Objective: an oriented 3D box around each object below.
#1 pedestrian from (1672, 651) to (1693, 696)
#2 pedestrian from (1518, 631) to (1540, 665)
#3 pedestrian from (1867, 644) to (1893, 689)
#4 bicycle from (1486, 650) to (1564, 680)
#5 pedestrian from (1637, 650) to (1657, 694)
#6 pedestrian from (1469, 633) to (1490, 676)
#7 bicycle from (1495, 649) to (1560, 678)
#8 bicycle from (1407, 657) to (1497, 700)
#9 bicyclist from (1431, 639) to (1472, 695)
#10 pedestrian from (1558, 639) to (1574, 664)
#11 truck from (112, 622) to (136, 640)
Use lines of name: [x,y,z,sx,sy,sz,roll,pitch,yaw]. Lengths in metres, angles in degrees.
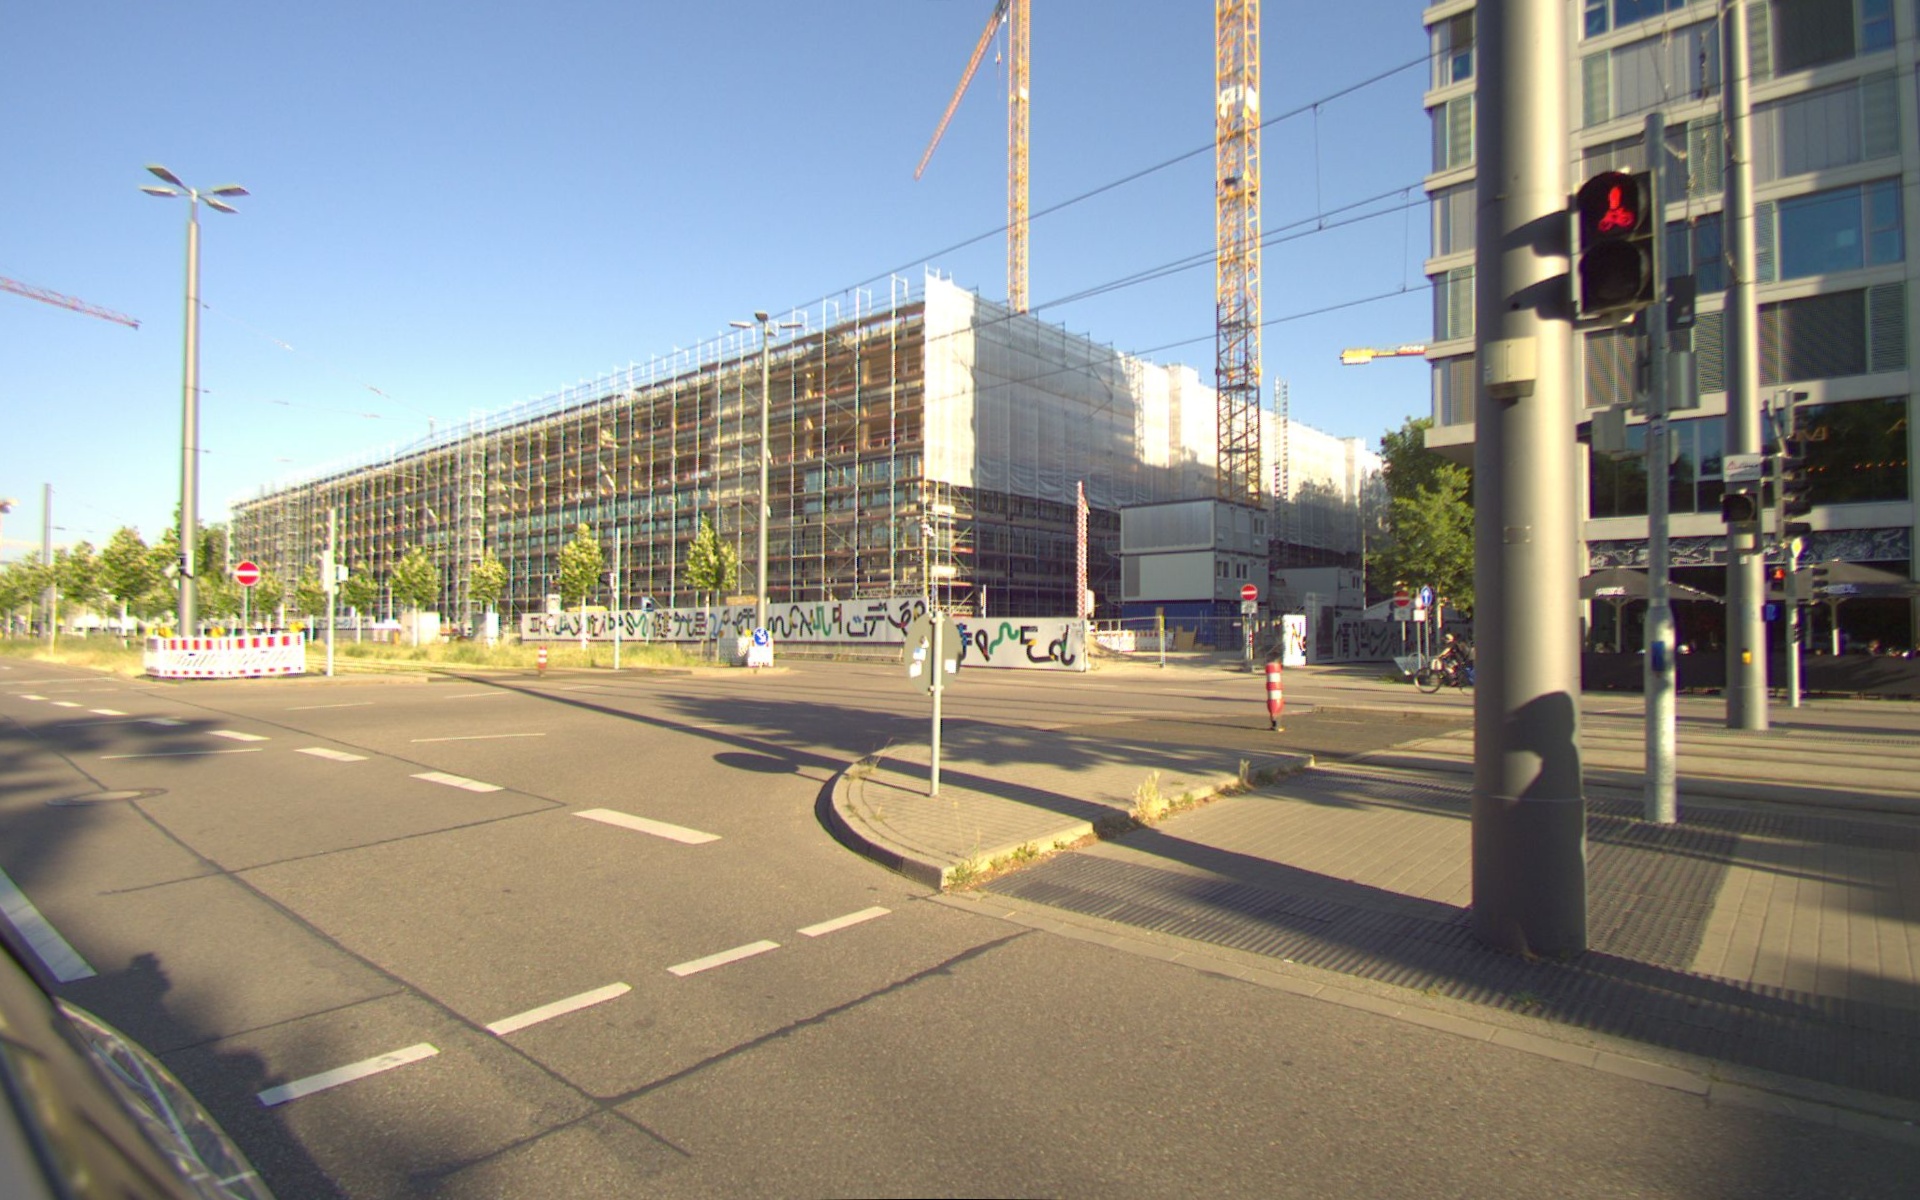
pedestrian: [19.826,2.012,27.759,0.432,1.203,0.360,-2,-3,38]
pedestrian: [26.402,2.227,46.947,0.574,1.547,0.705,2,-3,-43]
pedestrian: [25.826,1.862,28.408,0.497,1.231,0.427,-2,-3,41]
bicycle: [19.055,2.167,34.141,2.215,0.943,0.612,-2,-3,41]
pedestrian: [19.453,2.034,28.658,0.432,1.203,0.360,-2,-3,38]
pedestrian: [18.431,1.932,35.893,0.575,1.510,0.581,-1,-3,35]
bicycle: [19.573,2.175,34.933,1.899,0.943,0.530,-2,-3,41]
bicycle: [13.269,2.107,27.336,2.077,1.075,0.618,-2,-3,42]
bicyclist: [13.277,1.796,27.330,0.851,1.476,0.618,-2,-3,42]
pedestrian: [38.303,3.235,63.958,0.711,1.559,0.669,-2,-3,43]
truck: [-123.729,4.614,149.703,4.739,2.594,2.115,-2,-3,43]
